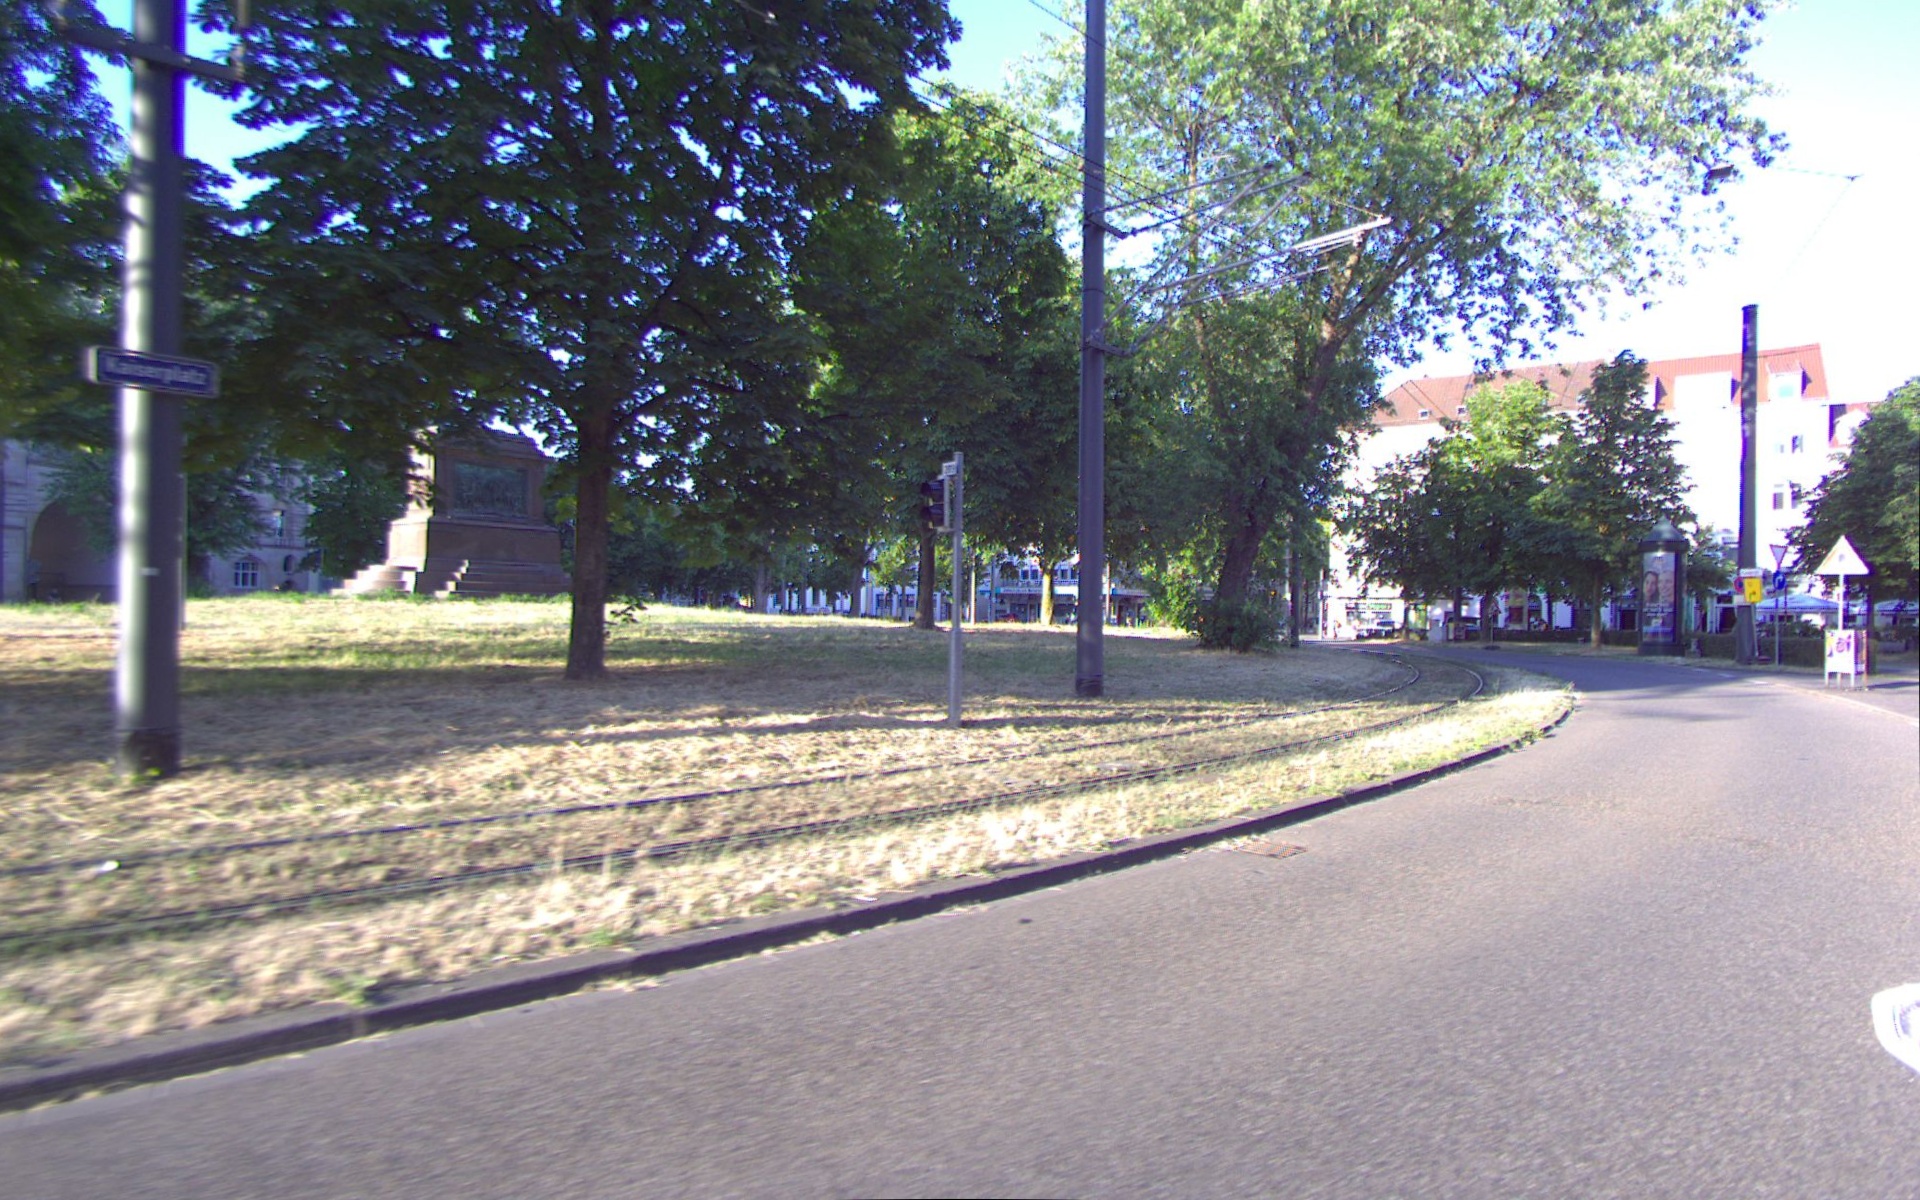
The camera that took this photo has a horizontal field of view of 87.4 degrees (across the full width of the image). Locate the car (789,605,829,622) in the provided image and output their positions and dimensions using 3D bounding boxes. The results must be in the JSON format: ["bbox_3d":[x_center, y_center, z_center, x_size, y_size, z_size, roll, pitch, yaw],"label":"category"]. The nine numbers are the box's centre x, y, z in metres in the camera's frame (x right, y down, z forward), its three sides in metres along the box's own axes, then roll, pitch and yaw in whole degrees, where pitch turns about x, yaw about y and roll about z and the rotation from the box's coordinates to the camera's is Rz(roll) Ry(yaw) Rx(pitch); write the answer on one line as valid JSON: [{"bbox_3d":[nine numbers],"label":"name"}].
[{"bbox_3d":[-16.383,1.469,108.896,3.934,1.728,1.993,1,-1,36],"label":"car"}]
